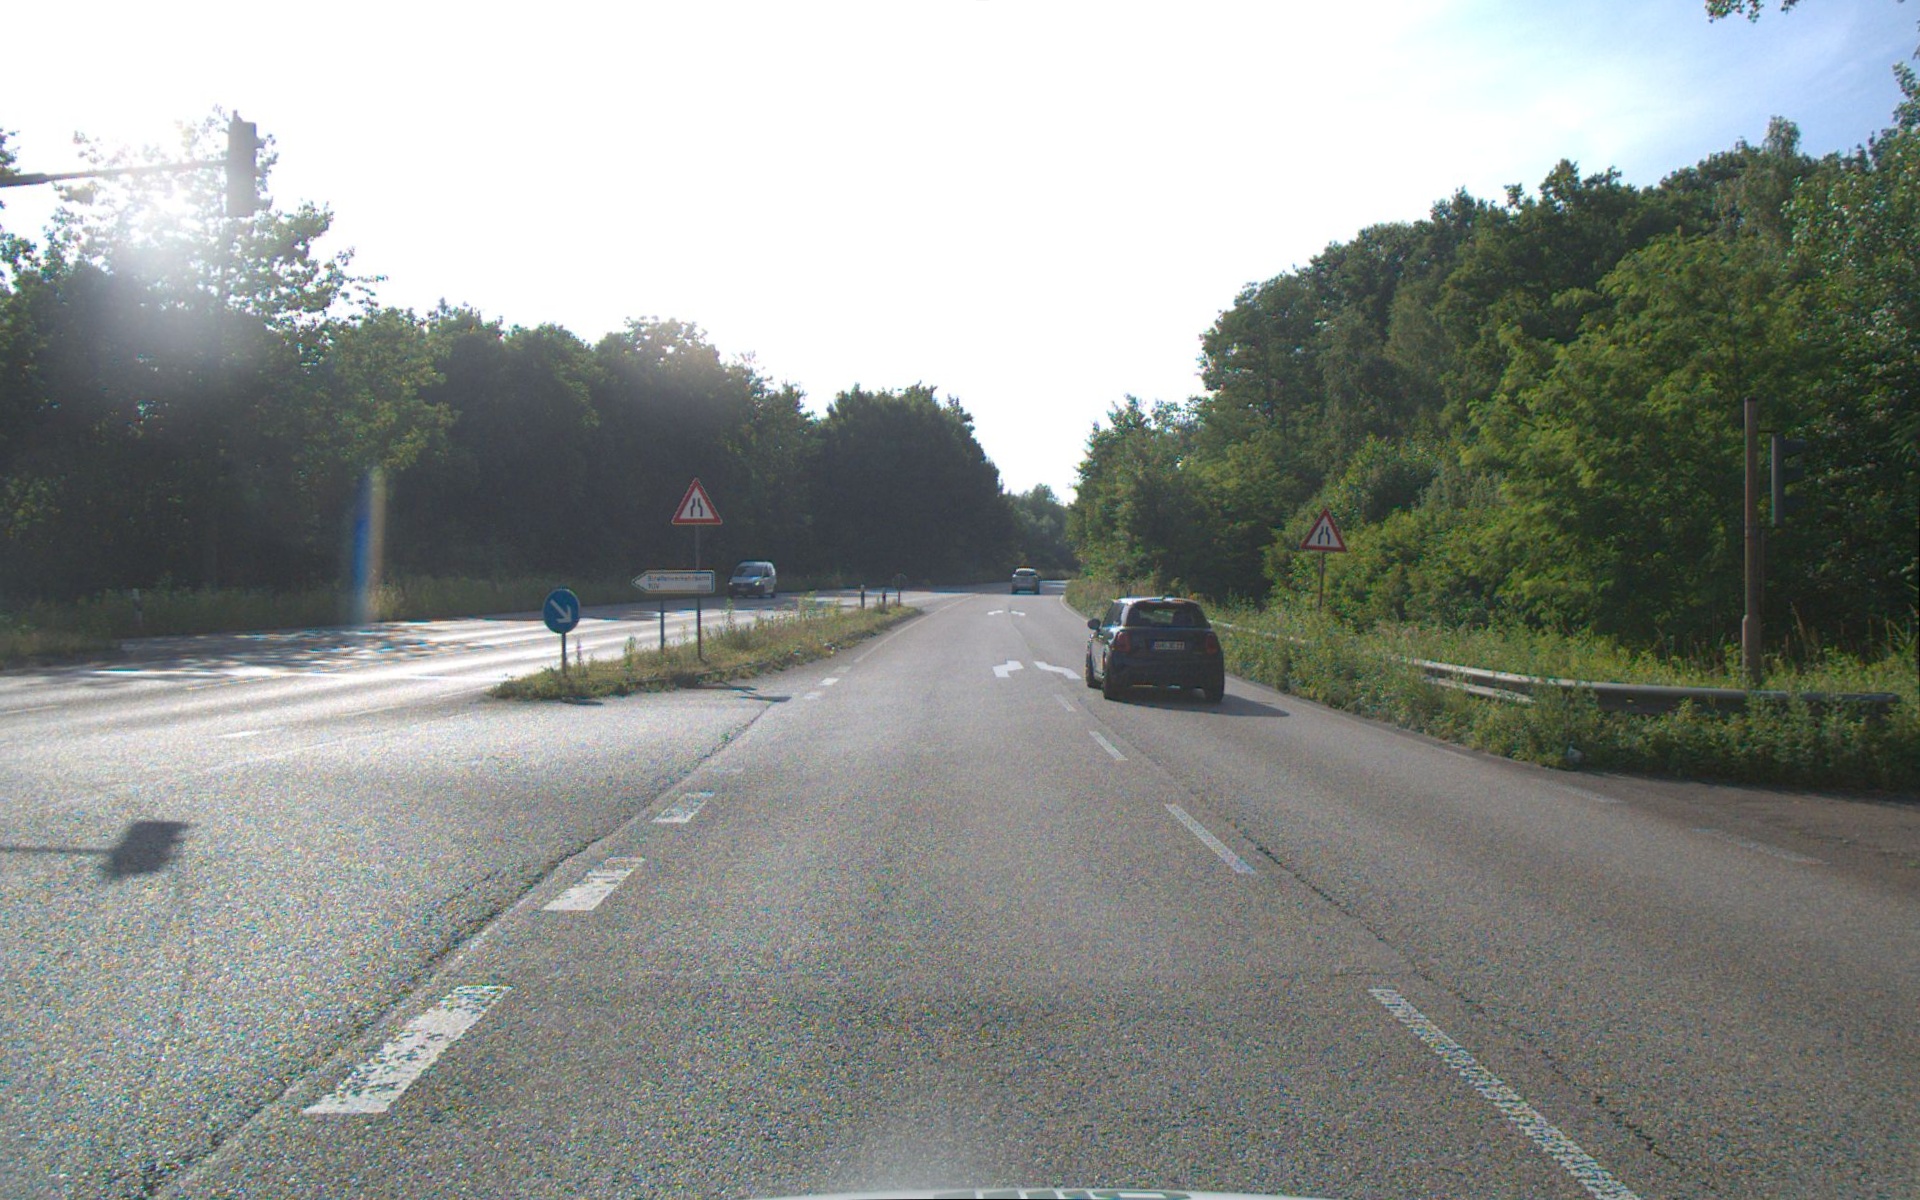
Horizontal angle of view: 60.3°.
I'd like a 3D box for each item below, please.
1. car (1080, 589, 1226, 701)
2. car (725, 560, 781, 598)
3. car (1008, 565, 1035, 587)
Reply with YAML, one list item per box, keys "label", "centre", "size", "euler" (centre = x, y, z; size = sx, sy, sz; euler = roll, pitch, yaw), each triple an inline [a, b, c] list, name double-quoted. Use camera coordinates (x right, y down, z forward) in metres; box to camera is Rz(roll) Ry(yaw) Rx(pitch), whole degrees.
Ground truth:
- label: "car"
  centre: [2.804, 0.624, 24.746]
  size: [1.782, 1.493, 3.873]
  euler: [1, 0, 1]
- label: "car"
  centre: [-10.408, -1.056, 83.437]
  size: [1.811, 1.817, 4.673]
  euler: [1, 0, 6]
- label: "car"
  centre: [4.227, -1.621, 113.357]
  size: [1.724, 1.404, 3.973]
  euler: [1, 0, 3]
